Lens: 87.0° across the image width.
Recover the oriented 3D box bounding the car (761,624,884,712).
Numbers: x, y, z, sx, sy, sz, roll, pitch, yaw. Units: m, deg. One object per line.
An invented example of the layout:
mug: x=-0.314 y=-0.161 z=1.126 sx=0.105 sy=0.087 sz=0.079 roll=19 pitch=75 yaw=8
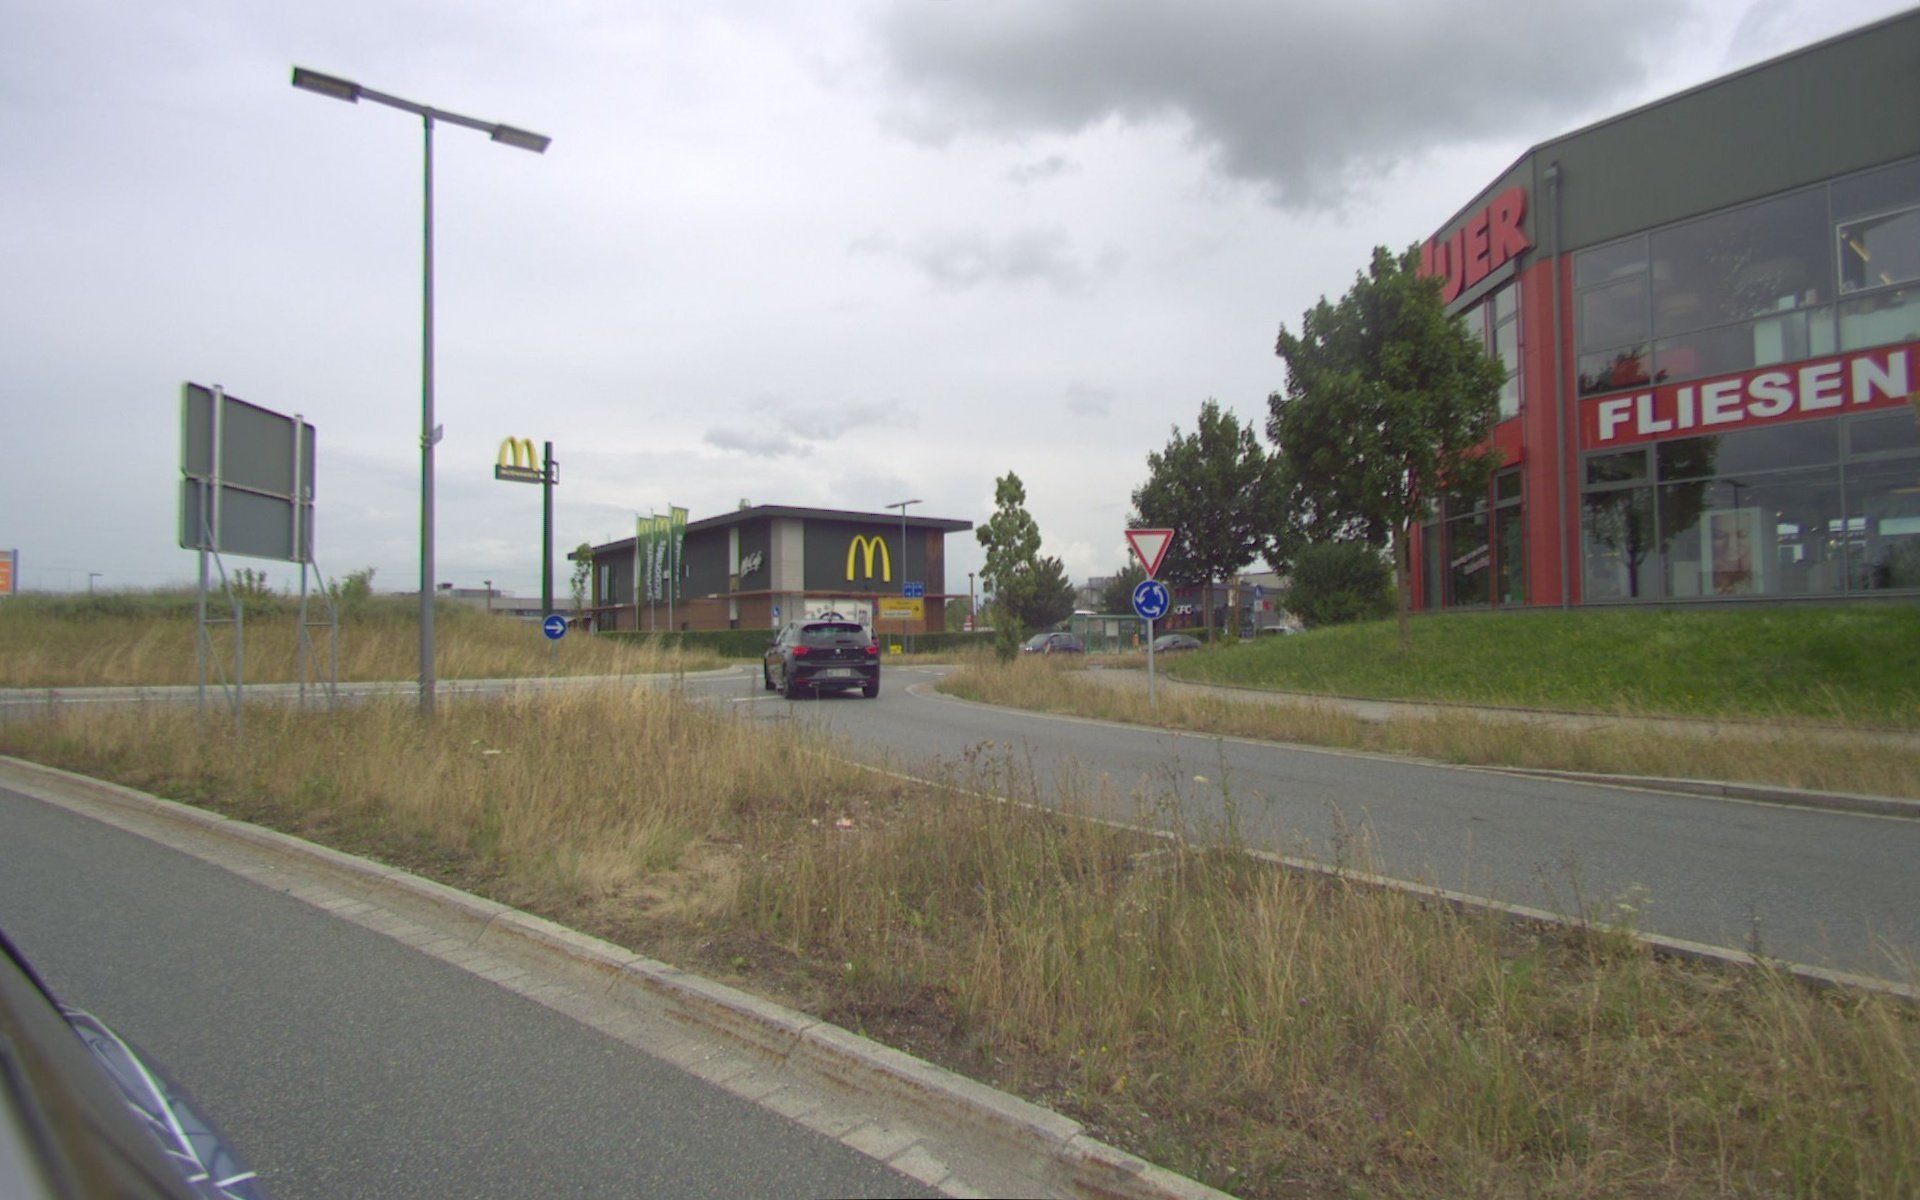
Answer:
car: x=-2.703 y=1.206 z=19.164 sx=1.617 sy=1.470 sz=3.779 roll=0 pitch=-2 yaw=-19

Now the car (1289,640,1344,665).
car: x=24.790 y=3.605 z=70.344 sx=3.712 sy=1.608 sz=1.945 roll=0 pitch=-2 yaw=-40

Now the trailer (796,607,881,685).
trailer: x=-3.424 y=1.328 z=29.300 sx=1.788 sy=2.107 sz=4.142 roll=0 pitch=-3 yaw=3

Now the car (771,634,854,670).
car: x=-6.883 y=2.421 z=47.266 sx=3.755 sy=1.562 sz=1.765 roll=-1 pitch=-2 yaw=-7
